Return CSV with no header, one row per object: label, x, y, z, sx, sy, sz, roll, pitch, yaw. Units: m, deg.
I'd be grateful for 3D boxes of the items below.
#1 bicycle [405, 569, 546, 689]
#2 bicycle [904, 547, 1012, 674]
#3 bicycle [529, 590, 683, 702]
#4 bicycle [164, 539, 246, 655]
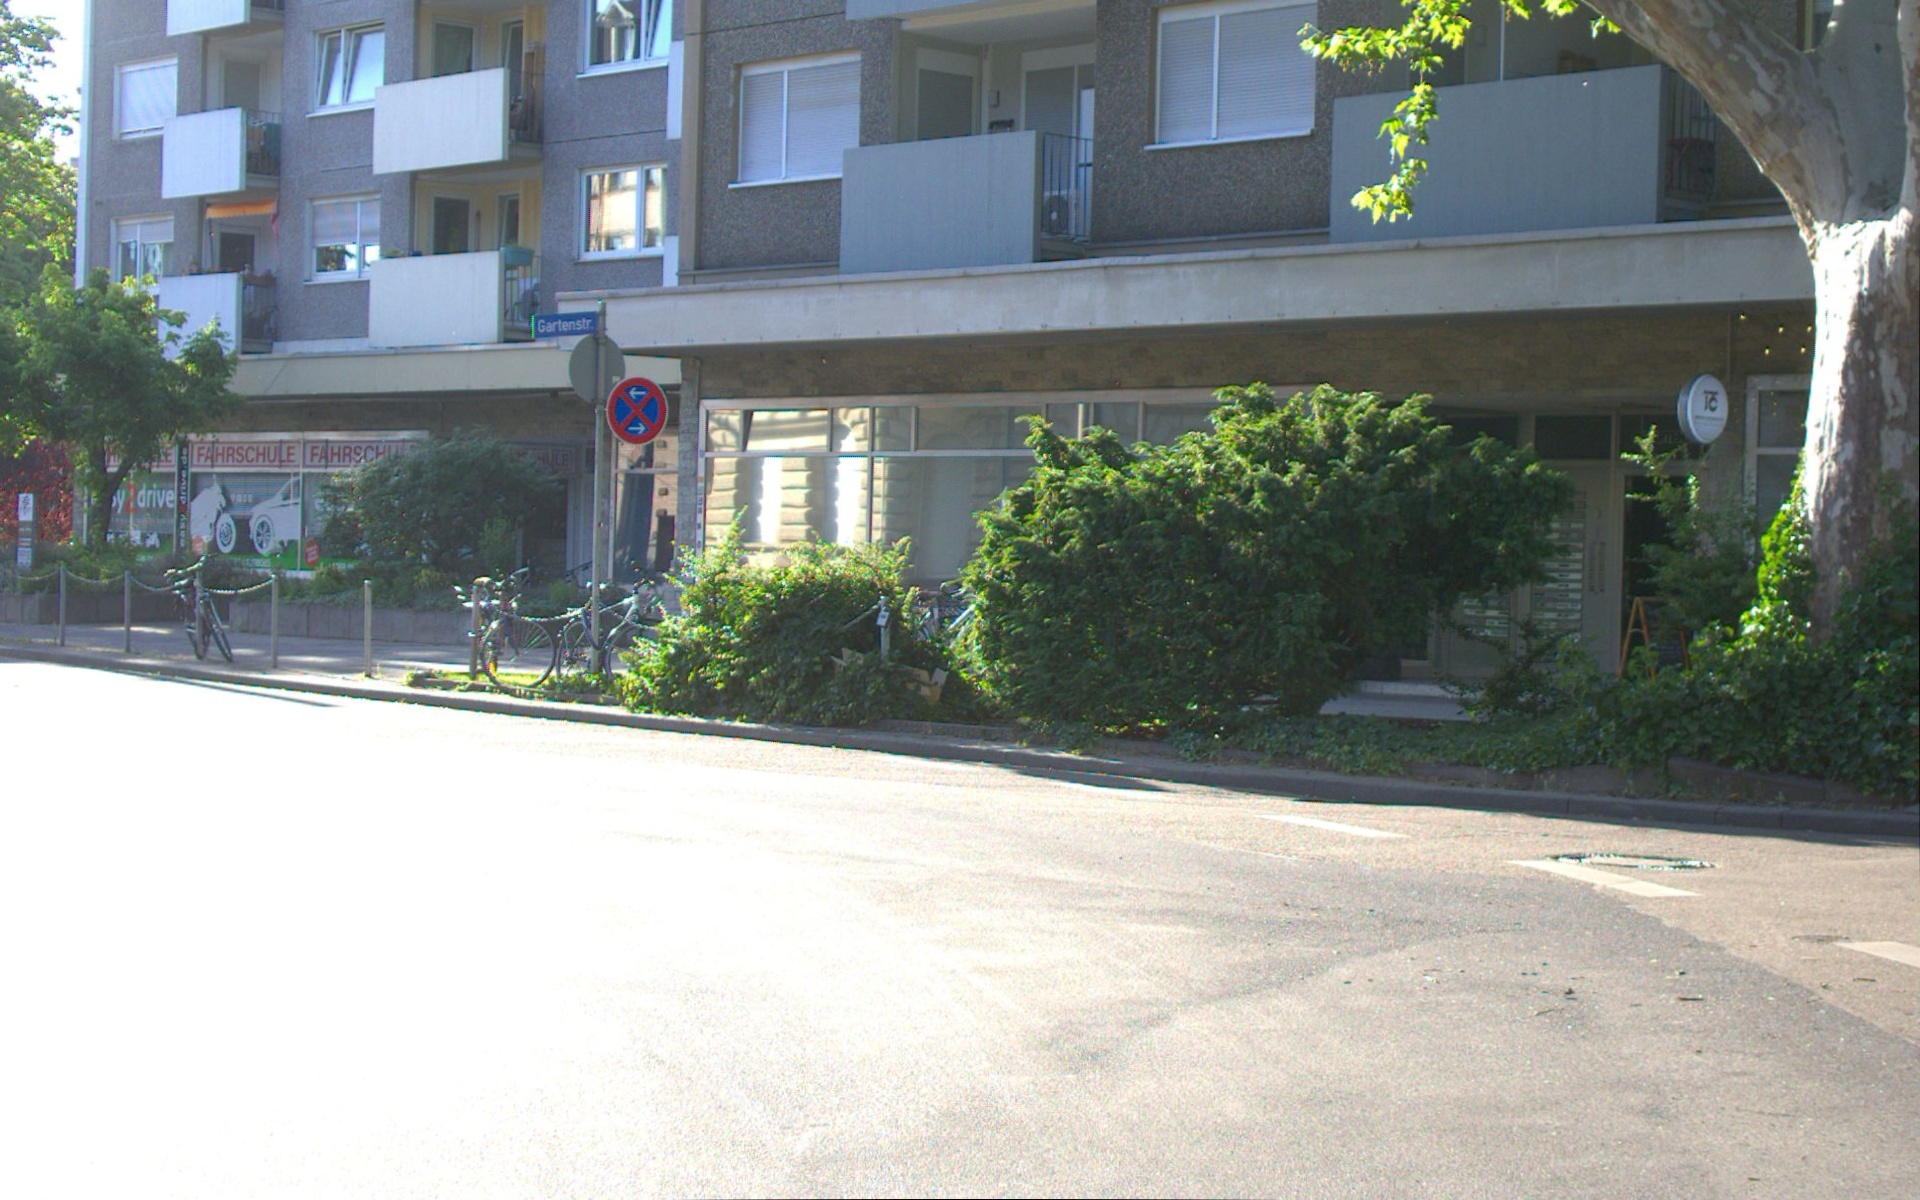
bicycle,-4.444,0.248,31.406,0.638,1.019,2.088,1,1,-26
bicycle,-0.026,0.083,28.989,0.348,1.034,1.052,0,2,-36
bicycle,-3.078,0.387,29.771,0.542,0.901,1.736,0,1,-35
bicycle,-8.296,-0.048,37.710,0.638,1.222,2.089,1,1,-19
